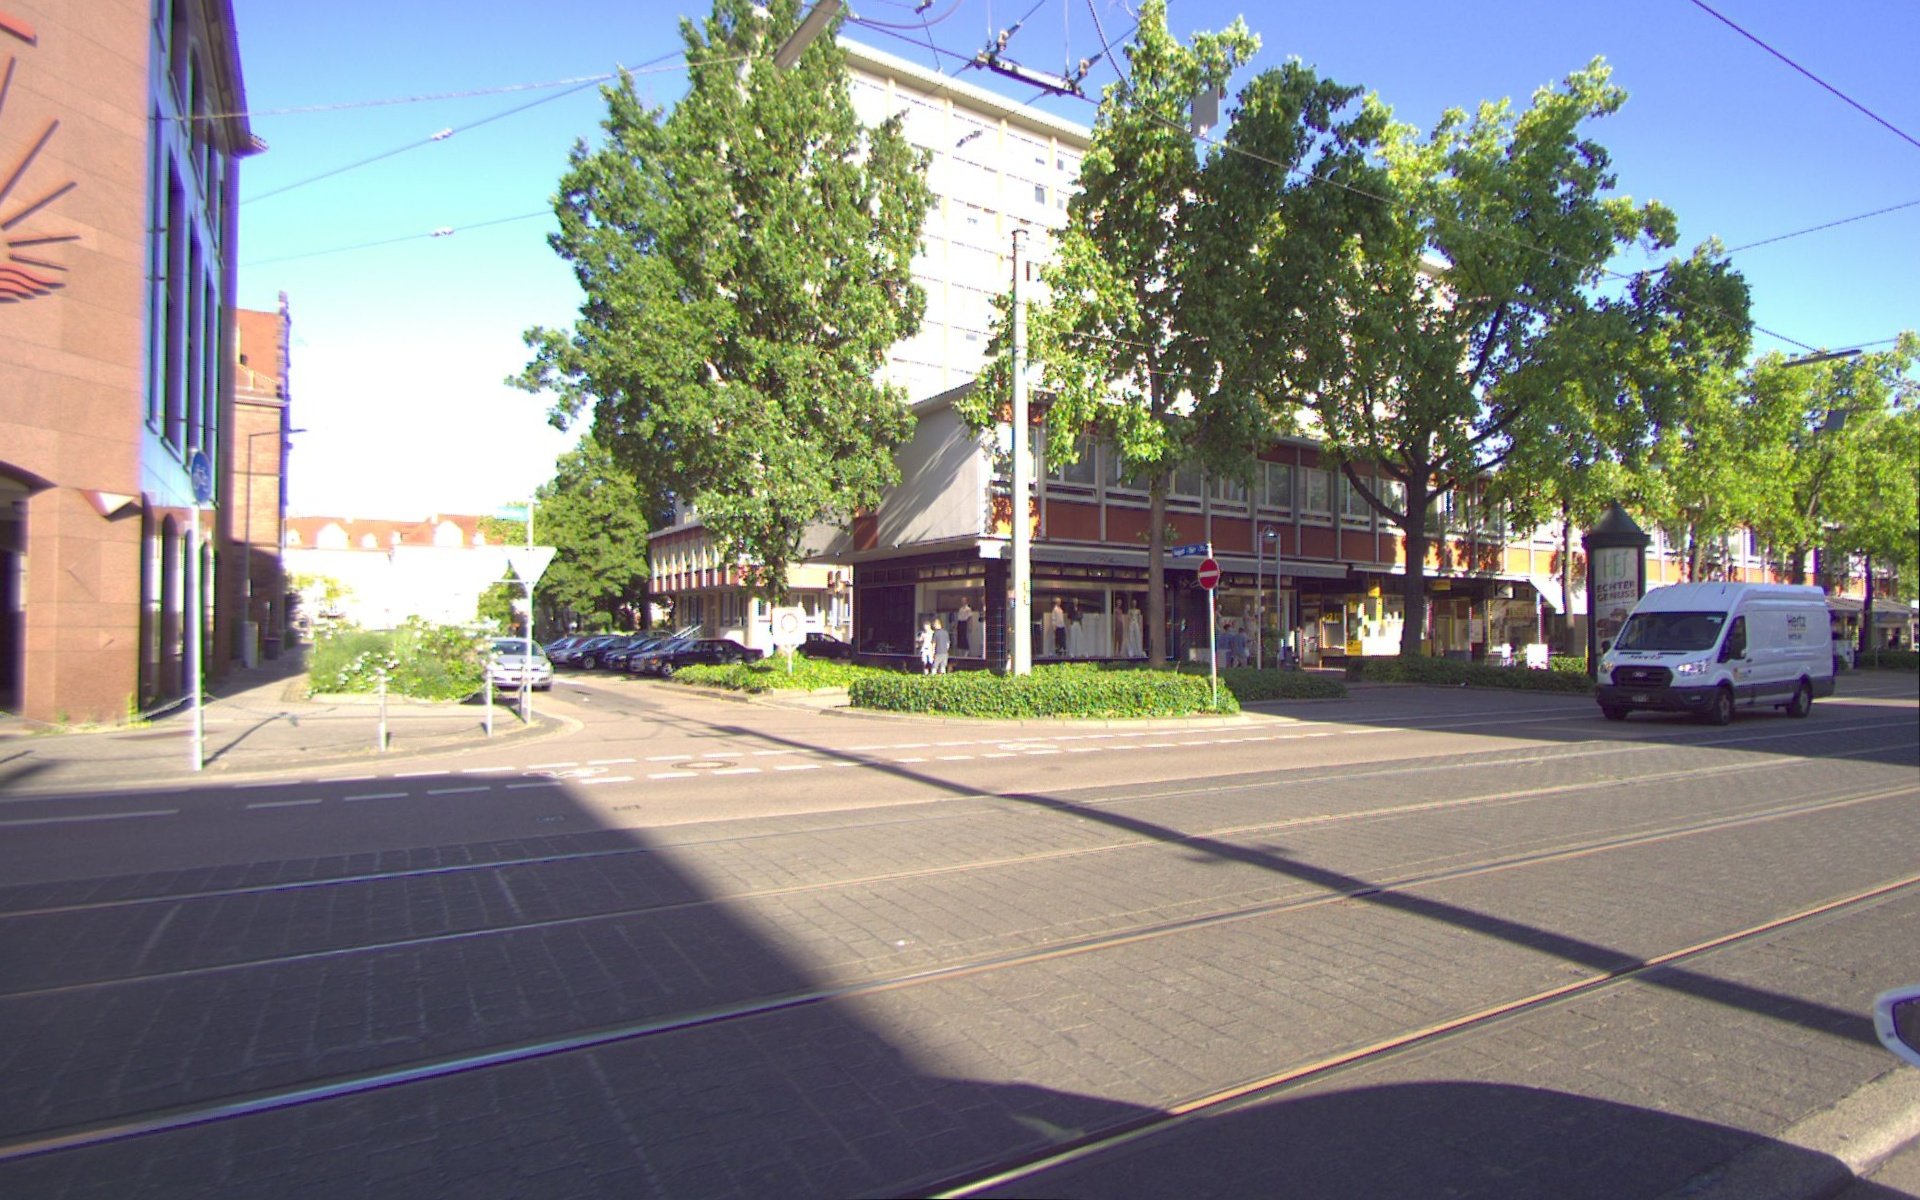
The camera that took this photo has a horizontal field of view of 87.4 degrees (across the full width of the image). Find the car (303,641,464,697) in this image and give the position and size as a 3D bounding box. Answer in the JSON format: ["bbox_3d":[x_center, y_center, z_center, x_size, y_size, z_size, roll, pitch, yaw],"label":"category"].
[{"bbox_3d":[-18.028,2.114,31.483,4.232,1.550,1.981,0,-2,-35],"label":"car"}]

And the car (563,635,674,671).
[{"bbox_3d":[-15.993,2.454,47.048,4.667,1.550,1.986,0,-2,-29],"label":"car"}]

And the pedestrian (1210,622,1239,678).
[{"bbox_3d":[8.555,1.613,32.534,0.698,1.773,0.570,0,-1,-29],"label":"pedestrian"}]

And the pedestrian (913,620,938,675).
[{"bbox_3d":[-1.039,1.402,29.856,0.708,1.613,0.447,0,-1,-5],"label":"pedestrian"}]

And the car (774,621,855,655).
[{"bbox_3d":[-7.992,2.057,55.218,3.952,1.806,1.984,0,-1,-30],"label":"car"}]

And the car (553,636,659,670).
[{"bbox_3d":[-17.355,2.584,49.321,4.667,1.550,1.986,0,-2,-29],"label":"car"}]

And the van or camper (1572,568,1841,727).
[{"bbox_3d":[15.214,0.892,20.291,6.944,2.775,2.025,1,-2,-33],"label":"van or camper"}]

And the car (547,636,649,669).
[{"bbox_3d":[-18.412,2.634,51.175,4.667,1.550,1.986,0,-2,-29],"label":"car"}]

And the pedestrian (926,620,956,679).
[{"bbox_3d":[-0.523,1.360,27.962,0.711,1.613,0.445,0,-1,-21],"label":"pedestrian"}]

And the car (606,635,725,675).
[{"bbox_3d":[-12.713,2.333,43.415,4.667,1.550,1.985,0,0,-29],"label":"car"}]

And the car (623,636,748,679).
[{"bbox_3d":[-11.272,2.324,41.275,4.667,1.550,1.985,0,0,-29],"label":"car"}]

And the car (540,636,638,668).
[{"bbox_3d":[-19.652,2.728,53.260,4.667,1.550,1.986,0,-2,-29],"label":"car"}]

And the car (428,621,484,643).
[{"bbox_3d":[-49.471,3.116,98.694,4.782,2.040,1.982,0,-1,-33],"label":"car"}]

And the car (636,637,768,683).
[{"bbox_3d":[-10.042,2.280,39.201,4.667,1.550,1.985,0,1,-29],"label":"car"}]

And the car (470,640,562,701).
[{"bbox_3d":[-12.730,1.933,28.675,1.976,1.550,4.241,0,-2,-30],"label":"car"}]

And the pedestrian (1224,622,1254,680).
[{"bbox_3d":[8.857,1.611,31.915,0.698,1.795,0.570,0,-1,-29],"label":"pedestrian"}]
